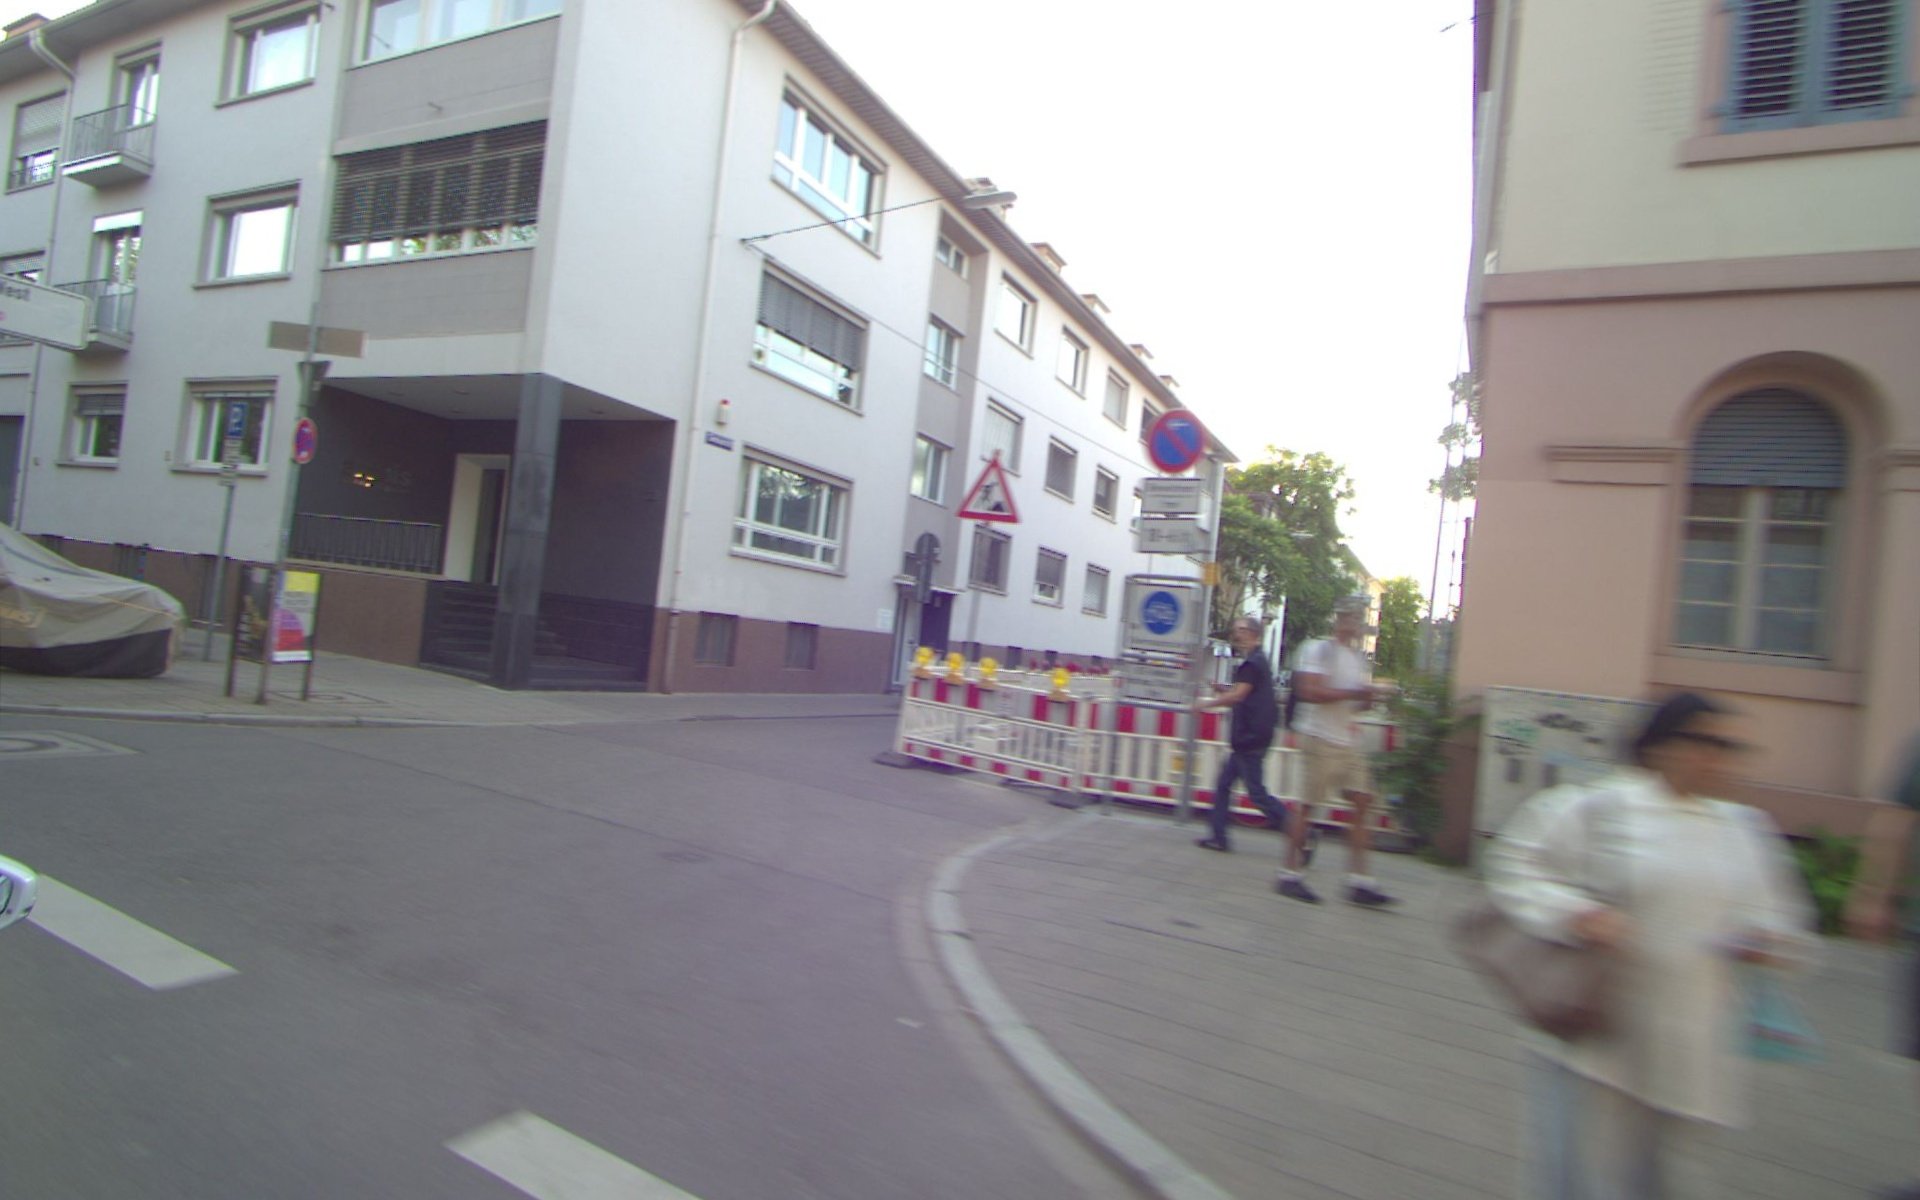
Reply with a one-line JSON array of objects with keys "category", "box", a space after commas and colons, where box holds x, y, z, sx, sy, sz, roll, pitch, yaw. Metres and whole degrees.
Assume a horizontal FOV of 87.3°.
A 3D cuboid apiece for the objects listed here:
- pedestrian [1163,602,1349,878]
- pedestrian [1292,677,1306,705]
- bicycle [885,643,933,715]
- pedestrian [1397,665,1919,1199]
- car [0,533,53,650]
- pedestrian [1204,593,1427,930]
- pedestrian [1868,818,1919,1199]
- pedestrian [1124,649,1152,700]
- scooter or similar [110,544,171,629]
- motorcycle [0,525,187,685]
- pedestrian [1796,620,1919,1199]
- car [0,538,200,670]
[{"category": "pedestrian", "box": [2.200, 0.988, 7.468, 1.047, 1.817, 0.698, 6, 0, 28]}, {"category": "pedestrian", "box": [21.046, 5.666, 62.453, 0.639, 1.673, 0.649, 5, -1, 27]}, {"category": "bicycle", "box": [-0.948, 1.468, 19.131, 0.523, 1.253, 1.797, 6, -2, 5]}, {"category": "pedestrian", "box": [1.568, 0.965, 2.348, 0.707, 1.531, 0.599, 5, 1, -2]}, {"category": "car", "box": [-13.641, -0.313, 11.819, 1.763, 1.454, 3.997, 5, -2, 28]}, {"category": "pedestrian", "box": [2.254, 0.957, 6.378, 1.032, 1.878, 0.697, 6, 0, 33]}, {"category": "pedestrian", "box": [2.489, 1.181, 2.252, 0.482, 1.278, 0.450, 5, 1, -15]}, {"category": "pedestrian", "box": [6.034, 2.530, 34.075, 0.639, 1.673, 0.649, 5, -1, 27]}, {"category": "scooter or similar", "box": [-13.279, -0.233, 16.297, 1.399, 1.254, 0.345, 5, -1, 37]}, {"category": "motorcycle", "box": [-8.778, 0.038, 9.647, 0.986, 1.409, 1.905, 5, -2, 40]}, {"category": "pedestrian", "box": [3.038, 0.989, 3.022, 0.566, 1.797, 0.544, 6, 1, 29]}, {"category": "car", "box": [-11.141, -0.056, 11.070, 1.764, 1.348, 3.995, 5, -2, 30]}]
